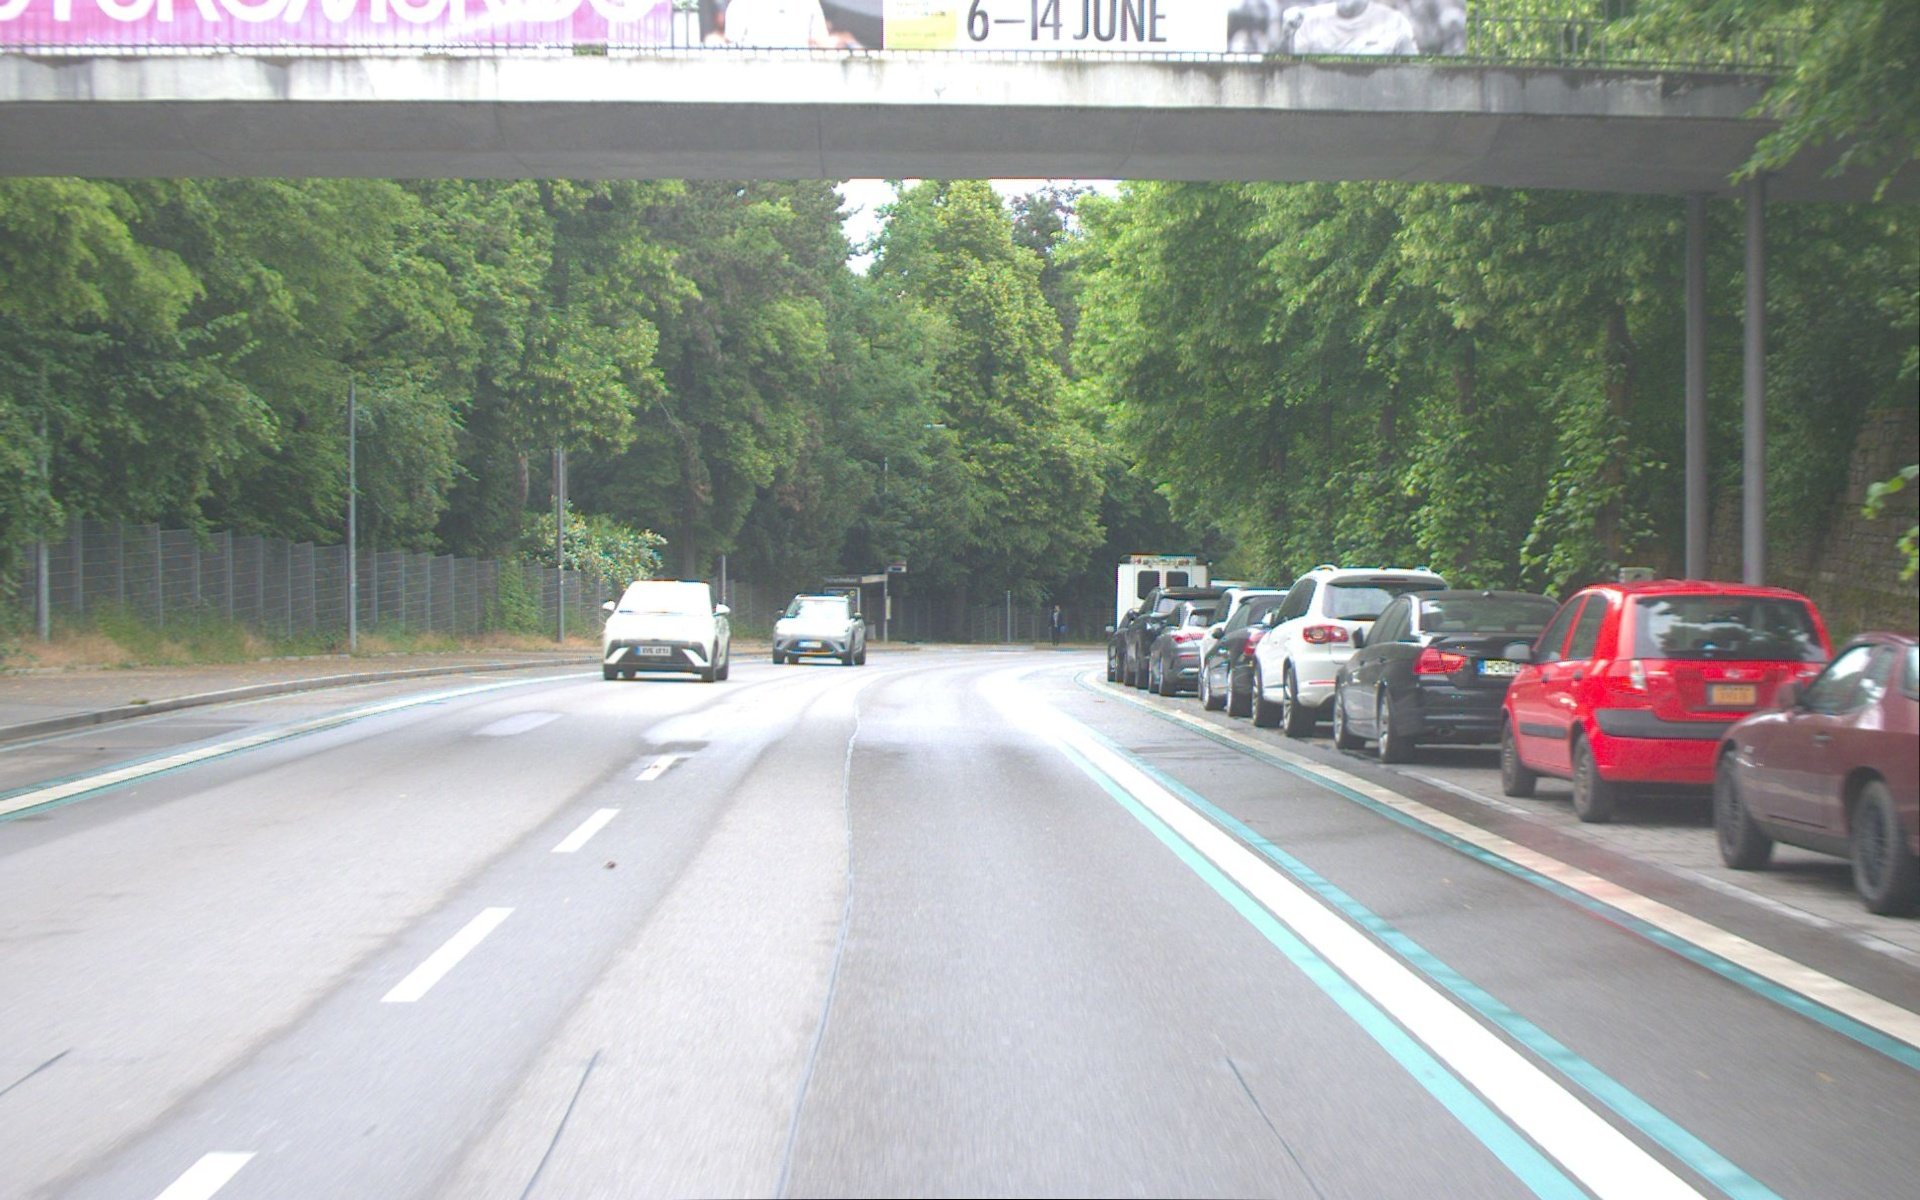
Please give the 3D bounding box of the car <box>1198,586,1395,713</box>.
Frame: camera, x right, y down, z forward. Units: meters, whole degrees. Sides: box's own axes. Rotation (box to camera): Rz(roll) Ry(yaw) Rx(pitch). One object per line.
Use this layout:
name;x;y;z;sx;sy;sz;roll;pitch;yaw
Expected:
car;3.887;0.606;40.364;1.718;1.371;4.558;1;-1;-2

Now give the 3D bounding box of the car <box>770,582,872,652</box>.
car;-3.196;0.402;79.892;1.796;1.571;4.101;1;0;6

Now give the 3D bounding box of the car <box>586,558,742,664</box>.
car;-4.554;0.144;53.333;1.972;1.547;3.870;1;1;1

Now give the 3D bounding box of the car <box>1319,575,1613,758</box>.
car;4.154;0.542;28.863;1.672;1.389;4.450;1;-1;-2

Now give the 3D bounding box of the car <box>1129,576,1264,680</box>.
car;3.927;0.503;57.640;1.993;1.639;4.347;1;-1;1

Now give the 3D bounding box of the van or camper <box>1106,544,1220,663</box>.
van or camper;4.862;0.100;81.478;2.317;2.655;6.380;2;0;6

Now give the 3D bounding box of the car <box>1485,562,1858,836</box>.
car;4.474;0.566;22.102;1.559;1.461;3.626;1;3;-1

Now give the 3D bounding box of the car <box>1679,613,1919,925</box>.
car;4.755;0.727;16.356;1.625;1.186;4.184;1;1;-2

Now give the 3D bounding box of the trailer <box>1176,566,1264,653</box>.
trailer;8.361;0.318;110.304;2.317;2.663;5.374;2;0;9

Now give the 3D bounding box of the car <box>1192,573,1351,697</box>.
car;4.075;0.455;45.517;1.661;1.530;3.741;2;0;-1

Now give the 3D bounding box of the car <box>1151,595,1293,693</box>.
car;3.815;0.649;50.631;1.775;1.344;4.466;2;-1;1

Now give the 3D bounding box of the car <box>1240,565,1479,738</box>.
car;3.946;0.494;34.611;1.713;1.613;4.261;1;0;-3
